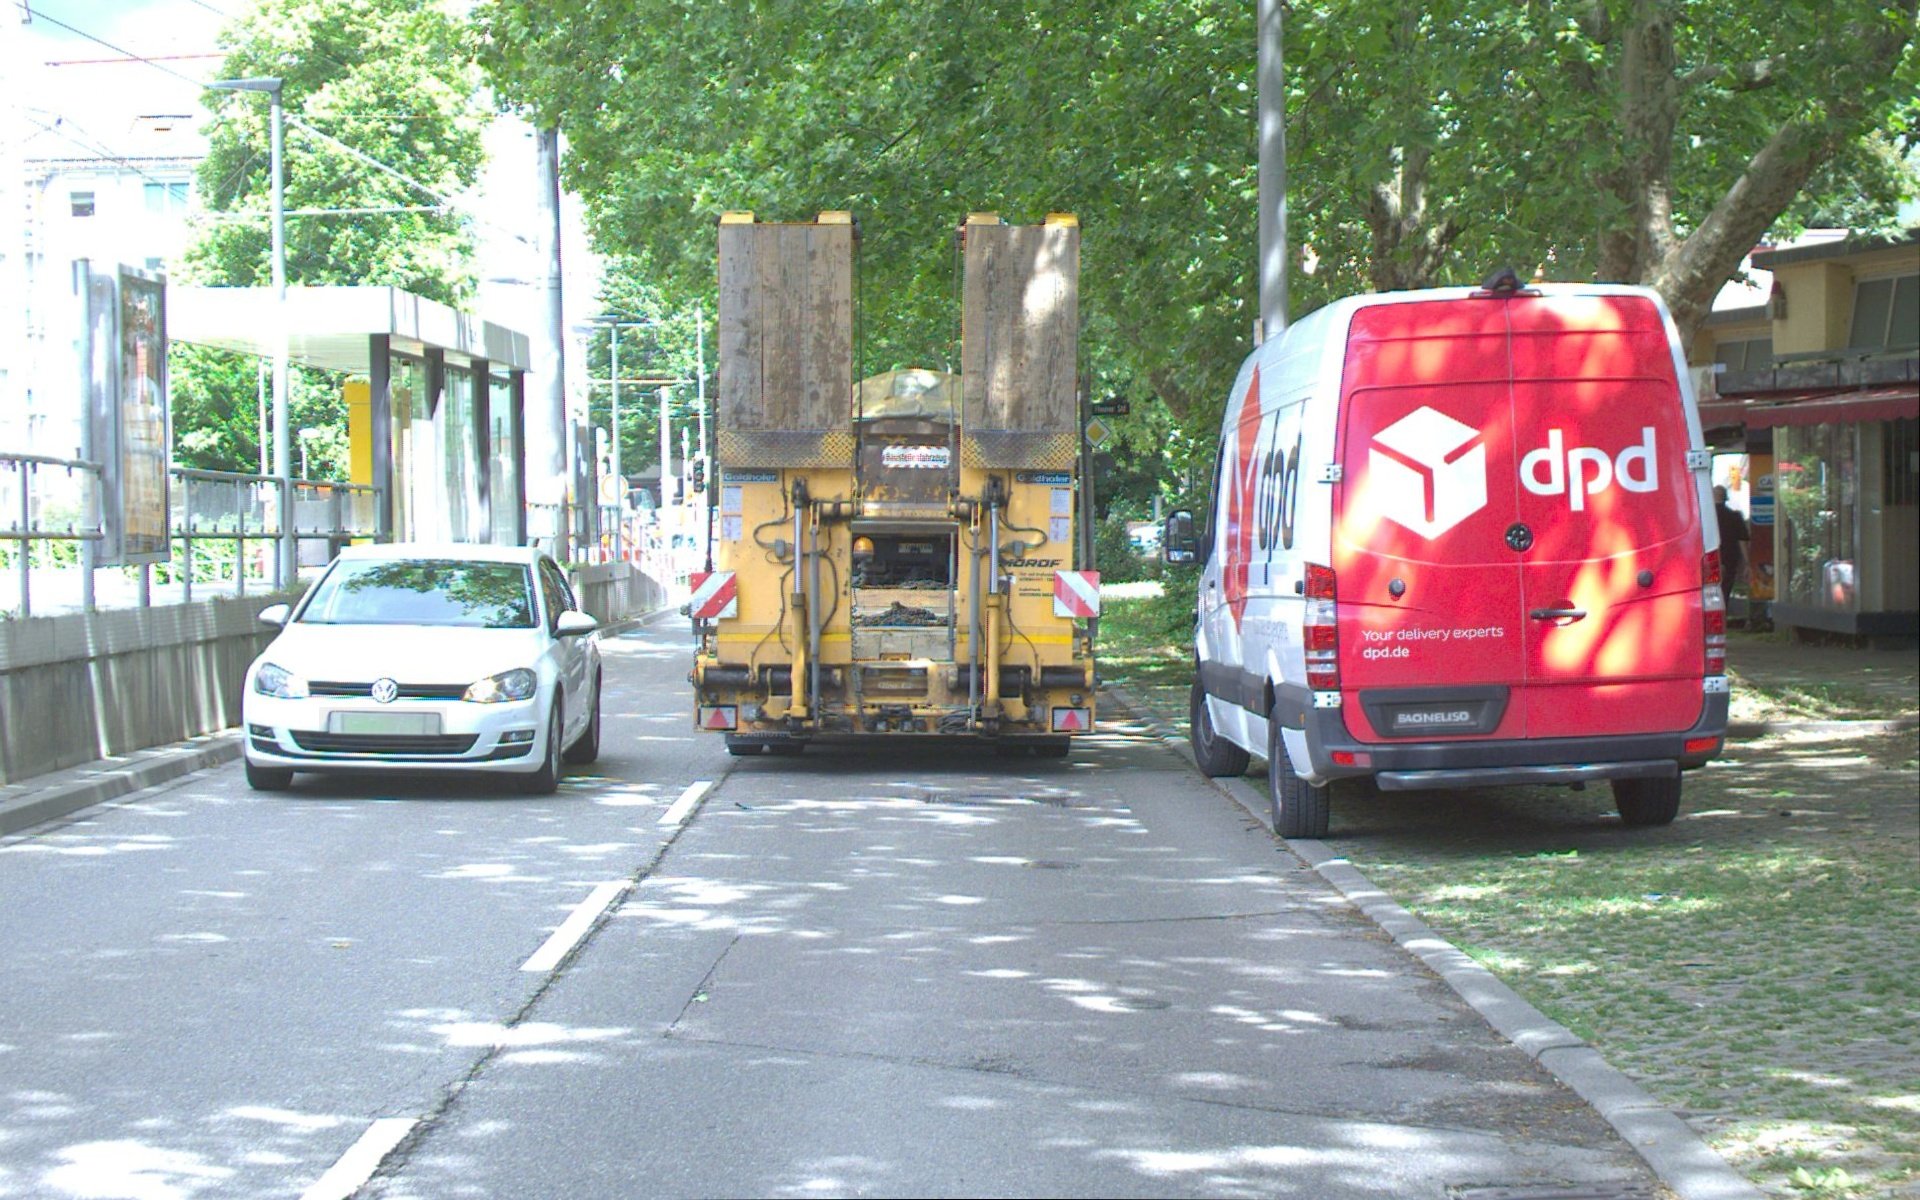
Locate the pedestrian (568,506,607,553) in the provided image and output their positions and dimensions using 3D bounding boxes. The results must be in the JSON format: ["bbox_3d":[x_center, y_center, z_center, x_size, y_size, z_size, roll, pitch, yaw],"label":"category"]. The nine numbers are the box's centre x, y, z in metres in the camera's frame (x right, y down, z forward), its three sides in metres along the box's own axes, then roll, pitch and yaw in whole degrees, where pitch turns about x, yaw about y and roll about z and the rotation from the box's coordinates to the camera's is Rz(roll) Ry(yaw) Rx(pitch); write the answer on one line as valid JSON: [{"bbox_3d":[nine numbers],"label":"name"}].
[{"bbox_3d":[-13.762,-2.612,127.087,1.108,1.709,0.888,-1,2,-45],"label":"pedestrian"}]

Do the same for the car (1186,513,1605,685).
[{"bbox_3d":[4.304,-0.027,34.262,3.828,1.557,1.620,-2,1,-7],"label":"car"}]

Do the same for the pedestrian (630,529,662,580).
[{"bbox_3d":[-11.583,-1.671,126.756,0.885,1.860,0.837,0,1,-29],"label":"pedestrian"}]

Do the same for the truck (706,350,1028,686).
[{"bbox_3d":[-1.056,-0.852,36.273,2.989,3.124,7.889,1,1,-3],"label":"truck"}]

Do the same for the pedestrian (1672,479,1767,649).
[{"bbox_3d":[7.849,-0.377,35.534,0.759,1.719,0.659,-2,1,-5],"label":"pedestrian"}]

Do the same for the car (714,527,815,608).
[{"bbox_3d":[-3.749,-0.655,66.565,1.762,1.476,4.577,1,1,-1],"label":"car"}]

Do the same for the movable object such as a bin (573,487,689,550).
[{"bbox_3d":[-13.872,-3.451,145.030,4.373,2.620,2.217,1,1,26],"label":"movable object such as a bin"}]

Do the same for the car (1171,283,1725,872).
[{"bbox_3d":[2.394,-0.168,18.782,1.904,2.572,6.834,-2,1,-1],"label":"car"}]

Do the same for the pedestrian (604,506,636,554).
[{"bbox_3d":[-12.441,-2.561,125.721,0.886,1.754,0.836,1,1,16],"label":"pedestrian"}]

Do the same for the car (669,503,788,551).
[{"bbox_3d":[-10.601,-3.335,157.283,5.088,2.095,1.977,1,2,-14],"label":"car"}]

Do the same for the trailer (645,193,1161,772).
[{"bbox_3d":[-0.594,-0.838,26.779,3.154,3.540,11.098,1,1,-3],"label":"trailer"}]

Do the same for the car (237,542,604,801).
[{"bbox_3d":[-3.169,0.364,20.833,1.732,1.391,3.752,1,1,-2],"label":"car"}]
